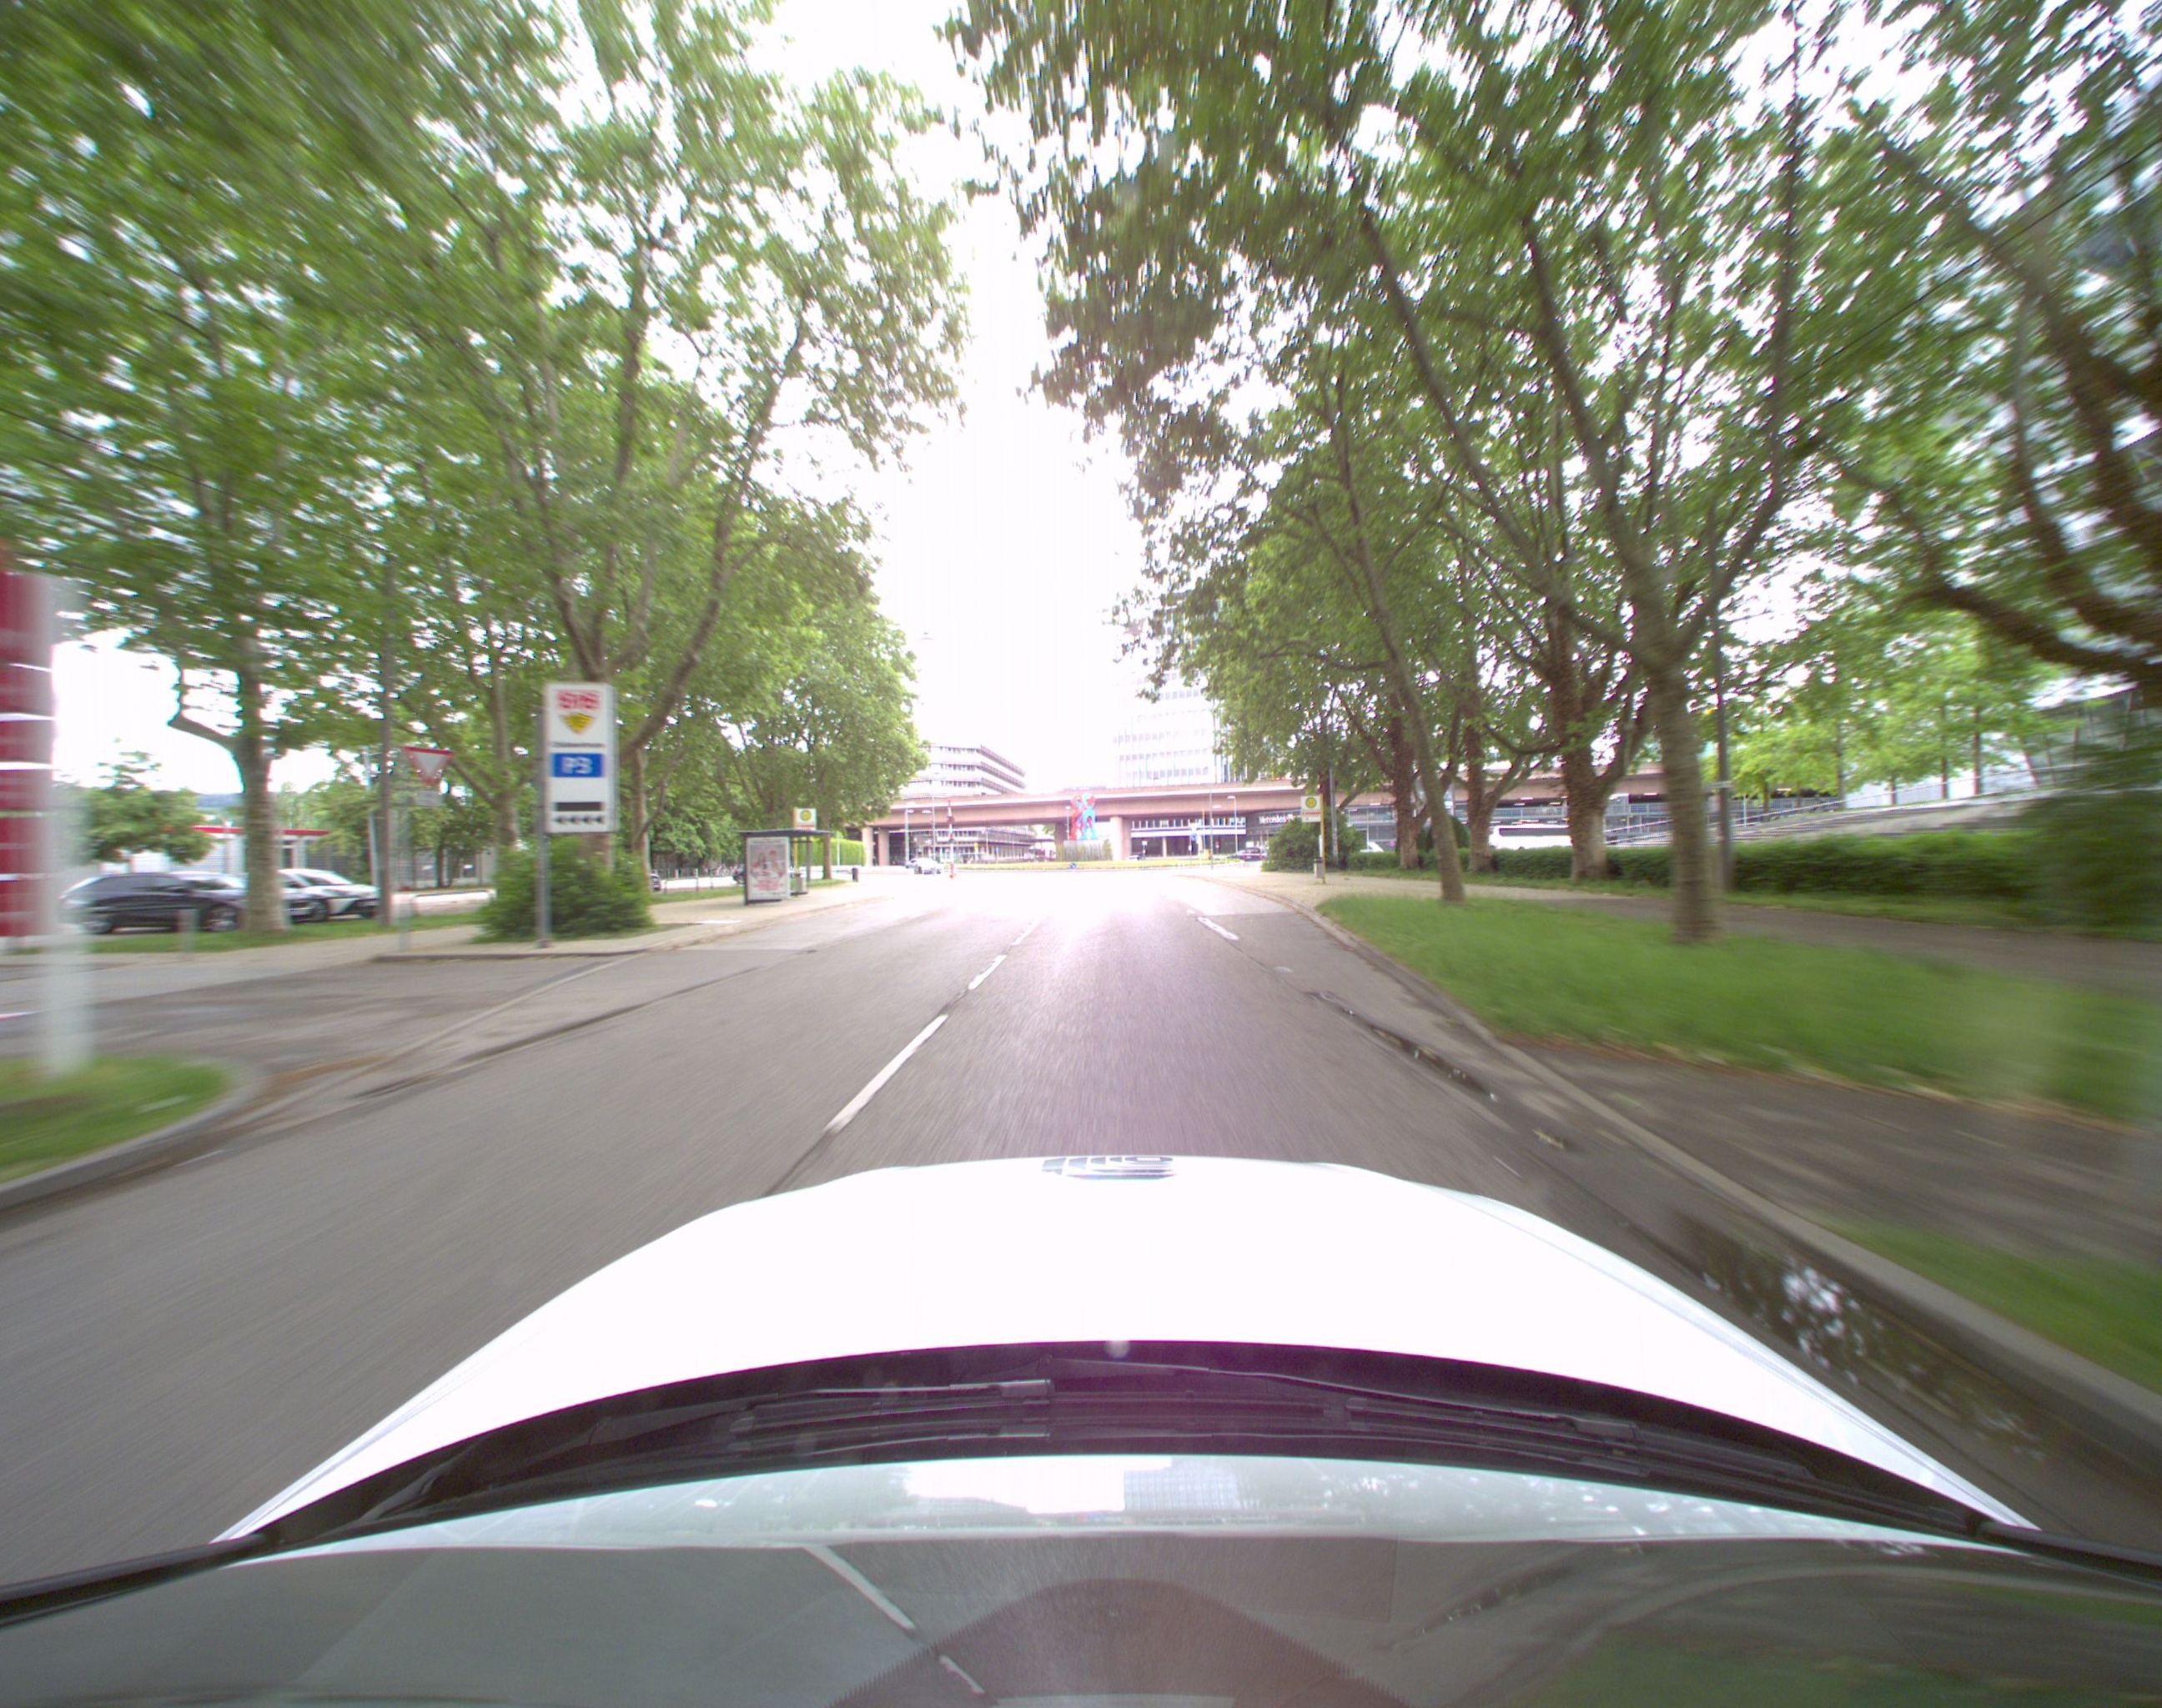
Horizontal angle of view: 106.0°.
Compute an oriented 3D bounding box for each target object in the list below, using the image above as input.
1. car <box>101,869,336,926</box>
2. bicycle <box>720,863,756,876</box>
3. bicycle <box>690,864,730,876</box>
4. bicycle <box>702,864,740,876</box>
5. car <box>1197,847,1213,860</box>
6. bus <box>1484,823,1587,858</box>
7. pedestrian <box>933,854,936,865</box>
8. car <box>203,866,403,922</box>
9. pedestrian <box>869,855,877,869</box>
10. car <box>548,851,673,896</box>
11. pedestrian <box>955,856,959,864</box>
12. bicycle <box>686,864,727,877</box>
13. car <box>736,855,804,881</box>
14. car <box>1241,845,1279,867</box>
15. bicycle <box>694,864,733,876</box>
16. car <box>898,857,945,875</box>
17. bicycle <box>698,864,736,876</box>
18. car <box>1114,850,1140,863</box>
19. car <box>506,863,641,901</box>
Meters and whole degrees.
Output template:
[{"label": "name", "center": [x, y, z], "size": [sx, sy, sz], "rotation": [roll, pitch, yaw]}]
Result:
[{"label": "car", "center": [-22.347, 1.098, 21.233], "size": [3.973, 1.324, 2.002], "rotation": [-1, 0, 0]}, {"label": "bicycle", "center": [-33.511, 1.510, 79.620], "size": [3.187, 1.097, 0.769], "rotation": [-2, 0, -15]}, {"label": "bicycle", "center": [-33.718, 1.450, 74.073], "size": [3.185, 1.097, 0.769], "rotation": [0, -1, -14]}, {"label": "bicycle", "center": [-34.161, 1.504, 77.363], "size": [3.186, 1.097, 0.769], "rotation": [-1, -1, -15]}, {"label": "car", "center": [20.506, -0.049, 134.328], "size": [1.977, 2.014, 4.019], "rotation": [-1, 0, 19]}, {"label": "bus", "center": [53.000, -1.590, 95.071], "size": [11.041, 3.934, 2.751], "rotation": [-1, -1, -8]}, {"label": "pedestrian", "center": [-28.145, 1.058, 156.670], "size": [0.588, 2.014, 0.597], "rotation": [-1, -1, -10]}, {"label": "car", "center": [-22.789, 1.134, 23.972], "size": [3.972, 1.522, 2.002], "rotation": [-1, 0, 1]}, {"label": "pedestrian", "center": [-30.581, 1.194, 119.797], "size": [1.043, 2.014, 0.597], "rotation": [-1, -1, -10]}, {"label": "car", "center": [-22.209, 0.901, 38.592], "size": [4.596, 2.025, 2.265], "rotation": [-1, -1, 3]}, {"label": "pedestrian", "center": [-30.583, 1.410, 200.492], "size": [0.773, 2.014, 0.671], "rotation": [-1, -1, 2]}, {"label": "bicycle", "center": [-33.209, 1.433, 72.307], "size": [3.185, 1.097, 0.769], "rotation": [0, -1, -14]}, {"label": "car", "center": [-21.610, 0.958, 56.755], "size": [3.984, 1.605, 2.226], "rotation": [-2, 0, -8]}, {"label": "car", "center": [17.181, 0.175, 77.928], "size": [2.254, 2.014, 4.813], "rotation": [-1, 0, 29]}, {"label": "bicycle", "center": [-33.849, 1.460, 75.041], "size": [3.185, 1.097, 0.769], "rotation": [0, -1, -14]}, {"label": "car", "center": [-14.518, 1.128, 74.170], "size": [1.918, 1.453, 4.756], "rotation": [-3, 0, -43]}, {"label": "bicycle", "center": [-34.101, 1.471, 76.386], "size": [3.185, 1.097, 0.769], "rotation": [0, -1, -14]}, {"label": "car", "center": [6.785, 0.367, 119.210], "size": [1.974, 1.772, 4.025], "rotation": [-1, -1, 36]}, {"label": "car", "center": [-22.120, 1.199, 35.624], "size": [4.606, 1.568, 2.110], "rotation": [-1, -1, 3]}]
